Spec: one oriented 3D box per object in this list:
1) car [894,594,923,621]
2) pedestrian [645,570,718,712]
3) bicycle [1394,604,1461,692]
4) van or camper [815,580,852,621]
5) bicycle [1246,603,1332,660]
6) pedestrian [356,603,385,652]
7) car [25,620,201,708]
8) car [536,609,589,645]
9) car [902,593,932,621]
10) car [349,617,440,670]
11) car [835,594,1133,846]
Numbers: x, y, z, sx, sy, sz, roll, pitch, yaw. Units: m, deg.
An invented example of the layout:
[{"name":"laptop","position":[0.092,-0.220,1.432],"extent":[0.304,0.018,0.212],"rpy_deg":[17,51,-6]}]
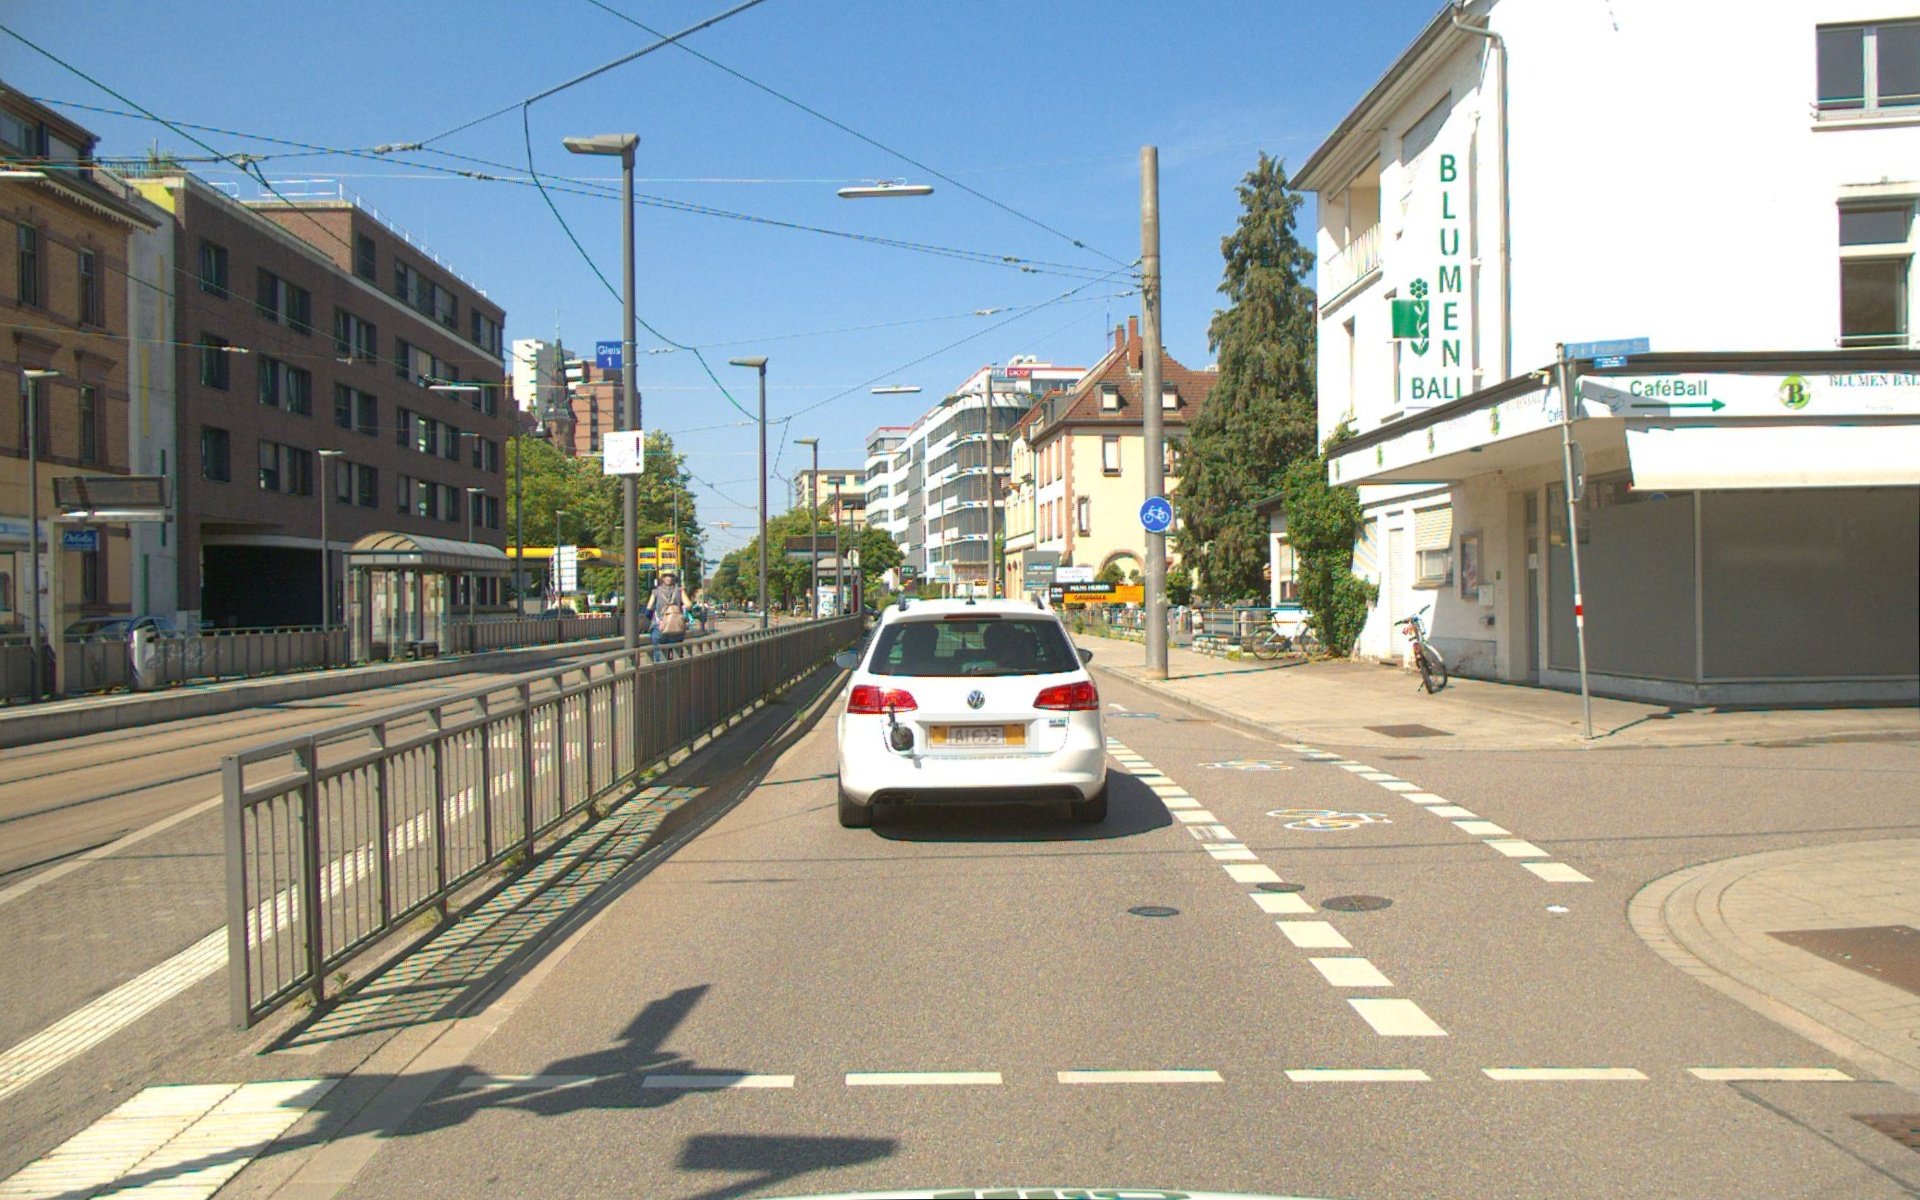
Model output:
[{"name":"car","position":[-4.089,0.583,130.485],"extent":[1.955,2.049,3.995],"rpy_deg":[-1,0,-6]},{"name":"pedestrian","position":[-3.726,0.540,22.165],"extent":[0.810,1.841,0.833],"rpy_deg":[-1,0,-1]},{"name":"bicycle","position":[6.587,0.649,23.384],"extent":[0.710,1.159,2.196],"rpy_deg":[-1,0,11]},{"name":"van or camper","position":[-10.493,0.062,136.853],"extent":[2.886,3.235,6.606],"rpy_deg":[-1,0,-5]},{"name":"bicycle","position":[6.890,0.654,34.698],"extent":[1.677,1.150,0.525],"rpy_deg":[-1,0,0]},{"name":"pedestrian","position":[-22.165,1.027,62.188],"extent":[0.710,1.822,0.964],"rpy_deg":[-1,0,-2]},{"name":"car","position":[-16.062,1.173,31.566],"extent":[1.541,1.484,3.736],"rpy_deg":[-1,0,-3]},{"name":"car","position":[-17.450,1.153,72.711],"extent":[1.541,1.484,3.736],"rpy_deg":[-1,0,-3]},{"name":"car","position":[-3.282,0.551,125.089],"extent":[1.955,2.049,3.995],"rpy_deg":[-1,0,-6]},{"name":"car","position":[-17.133,1.297,50.285],"extent":[1.541,1.484,3.933],"rpy_deg":[-1,0,-3]},{"name":"car","position":[0.104,0.706,11.599],"extent":[1.717,1.442,3.852],"rpy_deg":[1,0,-1]}]
